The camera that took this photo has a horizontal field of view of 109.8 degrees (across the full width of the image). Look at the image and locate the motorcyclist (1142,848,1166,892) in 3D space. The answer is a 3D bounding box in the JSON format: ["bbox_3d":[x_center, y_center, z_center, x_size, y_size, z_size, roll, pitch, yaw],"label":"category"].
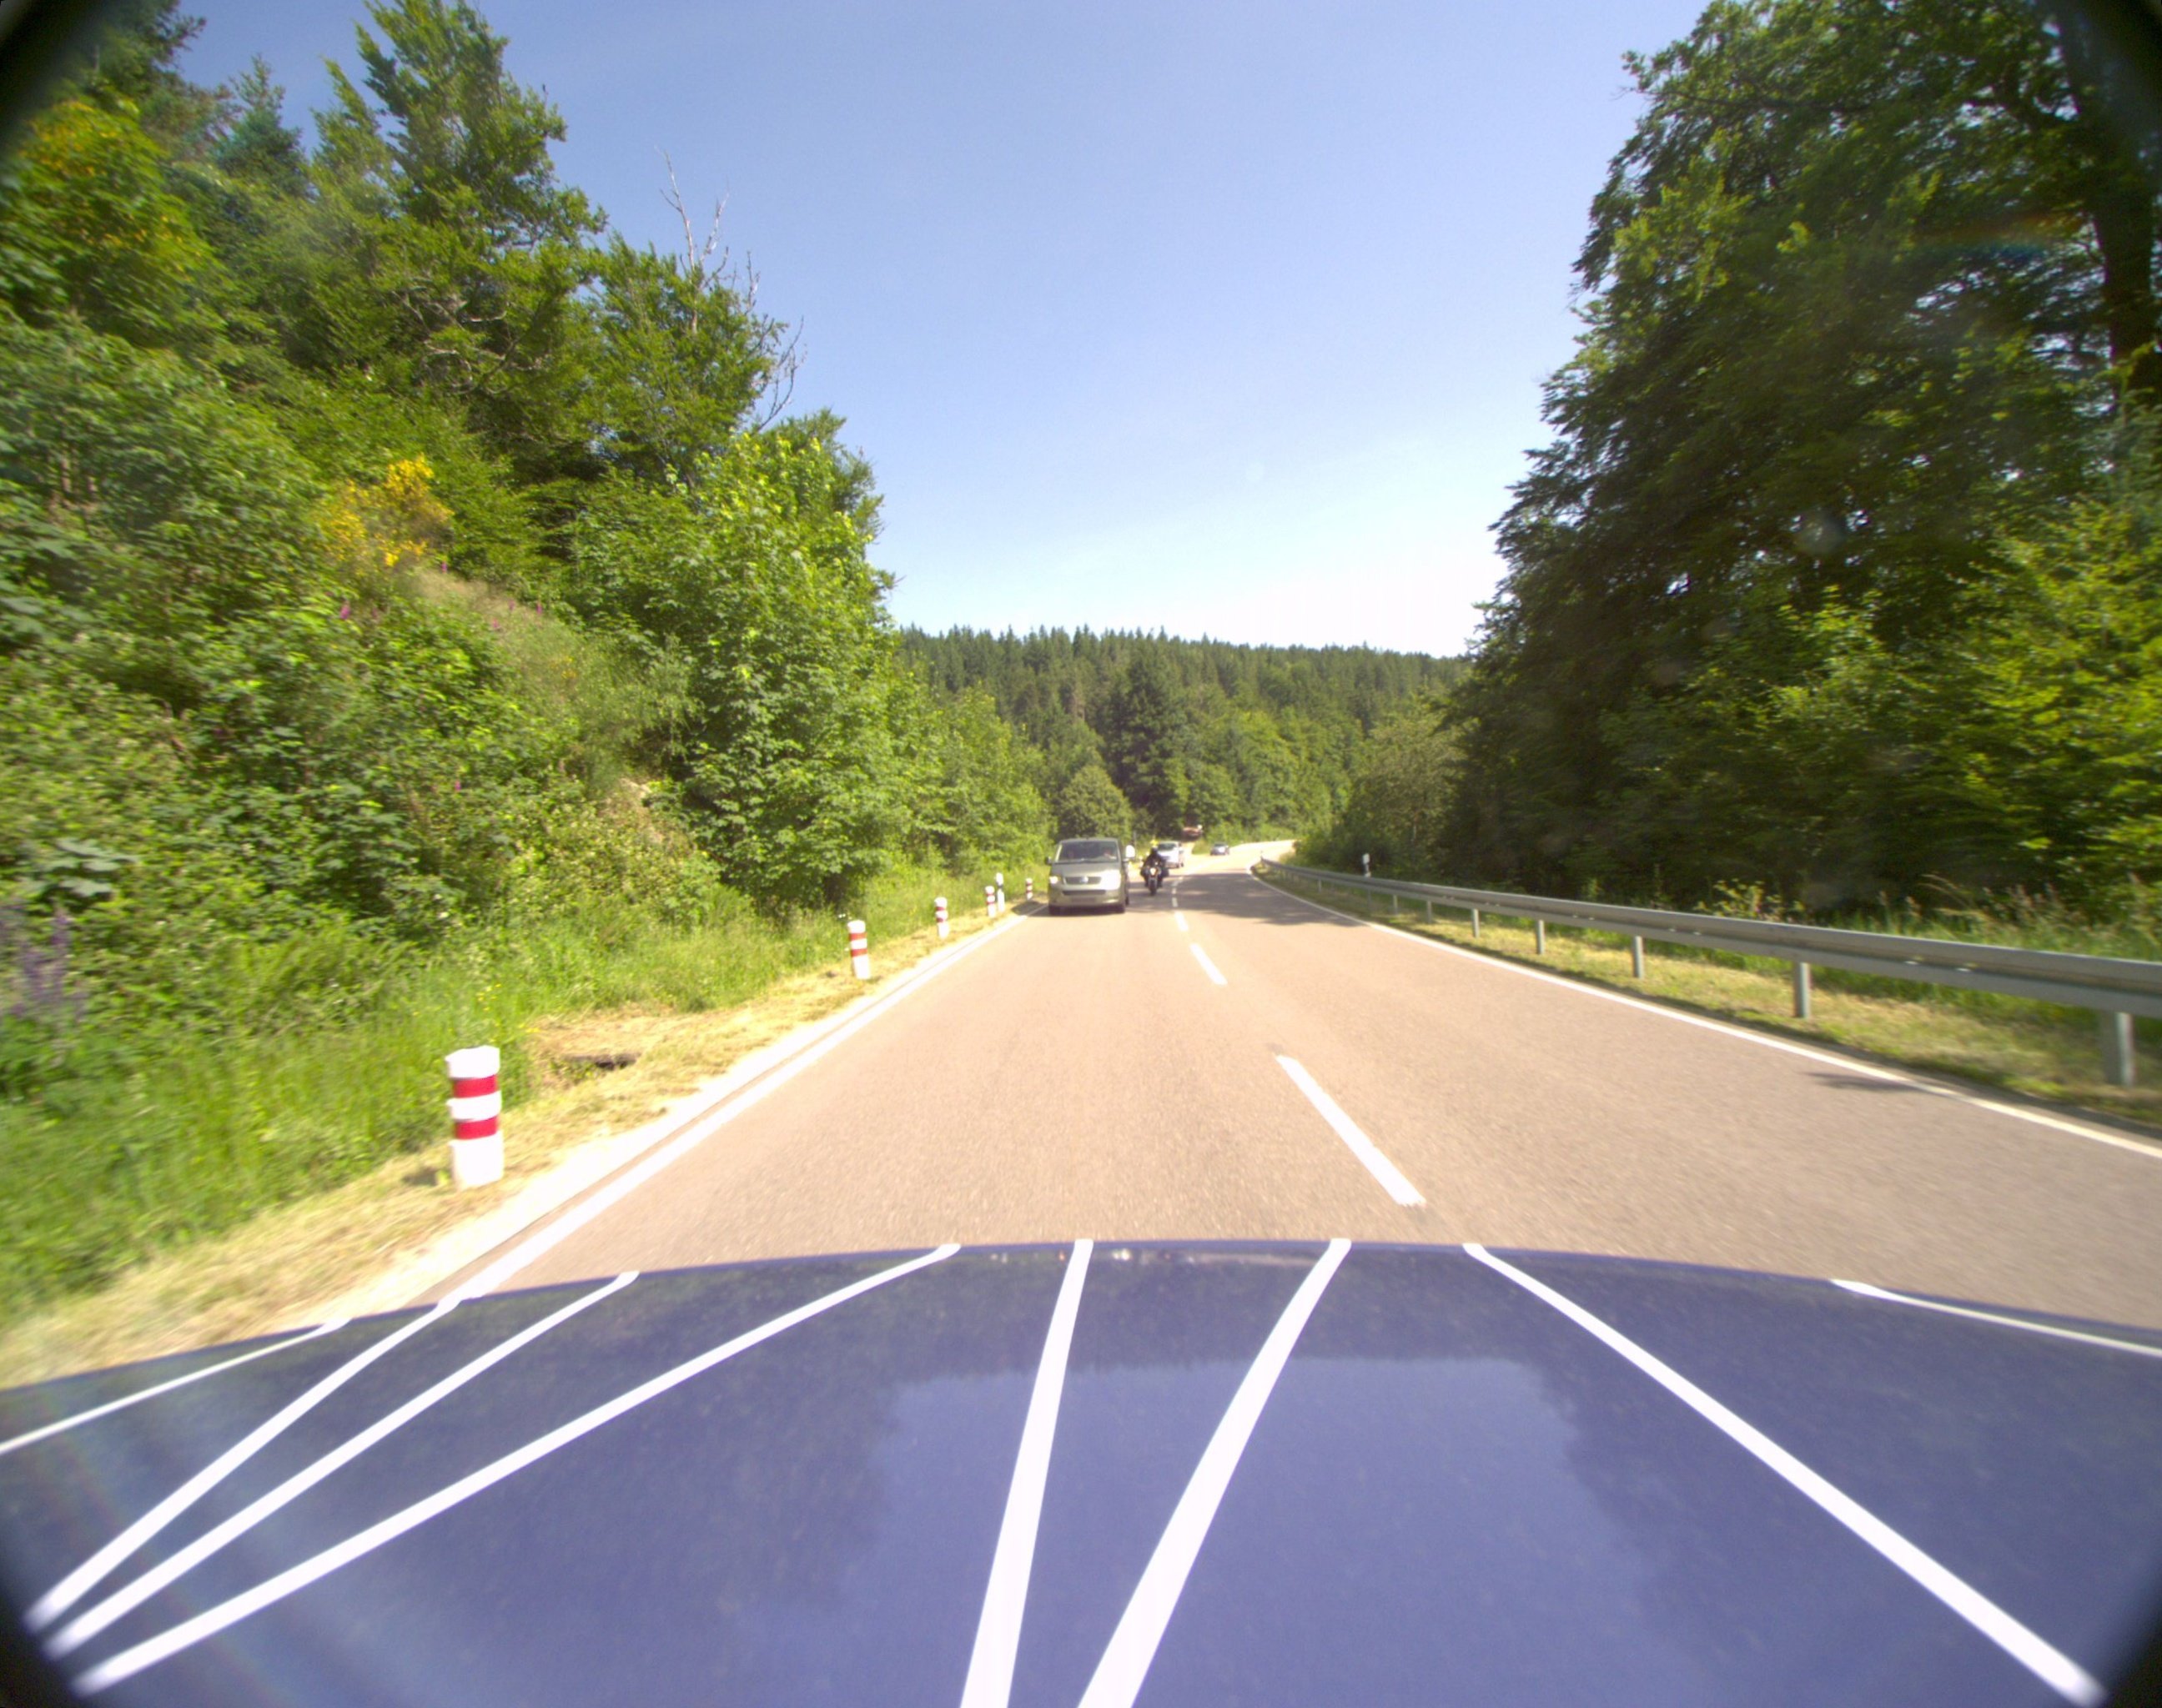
[{"bbox_3d":[2.476,0.525,25.883,0.716,1.422,0.999,-4,0,6],"label":"motorcyclist"}]

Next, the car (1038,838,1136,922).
[{"bbox_3d":[0.307,0.578,20.321,2.028,1.940,4.901,-2,1,7],"label":"car"}]

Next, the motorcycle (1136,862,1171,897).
[{"bbox_3d":[2.499,0.850,25.989,1.109,1.117,1.962,-2,0,7],"label":"motorcycle"}]

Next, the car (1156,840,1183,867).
[{"bbox_3d":[6.329,-0.059,54.047,1.651,1.749,3.796,-1,1,11],"label":"car"}]

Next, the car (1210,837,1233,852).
[{"bbox_3d":[15.957,-1.089,86.067,1.996,1.634,4.004,-2,1,17],"label":"car"}]
